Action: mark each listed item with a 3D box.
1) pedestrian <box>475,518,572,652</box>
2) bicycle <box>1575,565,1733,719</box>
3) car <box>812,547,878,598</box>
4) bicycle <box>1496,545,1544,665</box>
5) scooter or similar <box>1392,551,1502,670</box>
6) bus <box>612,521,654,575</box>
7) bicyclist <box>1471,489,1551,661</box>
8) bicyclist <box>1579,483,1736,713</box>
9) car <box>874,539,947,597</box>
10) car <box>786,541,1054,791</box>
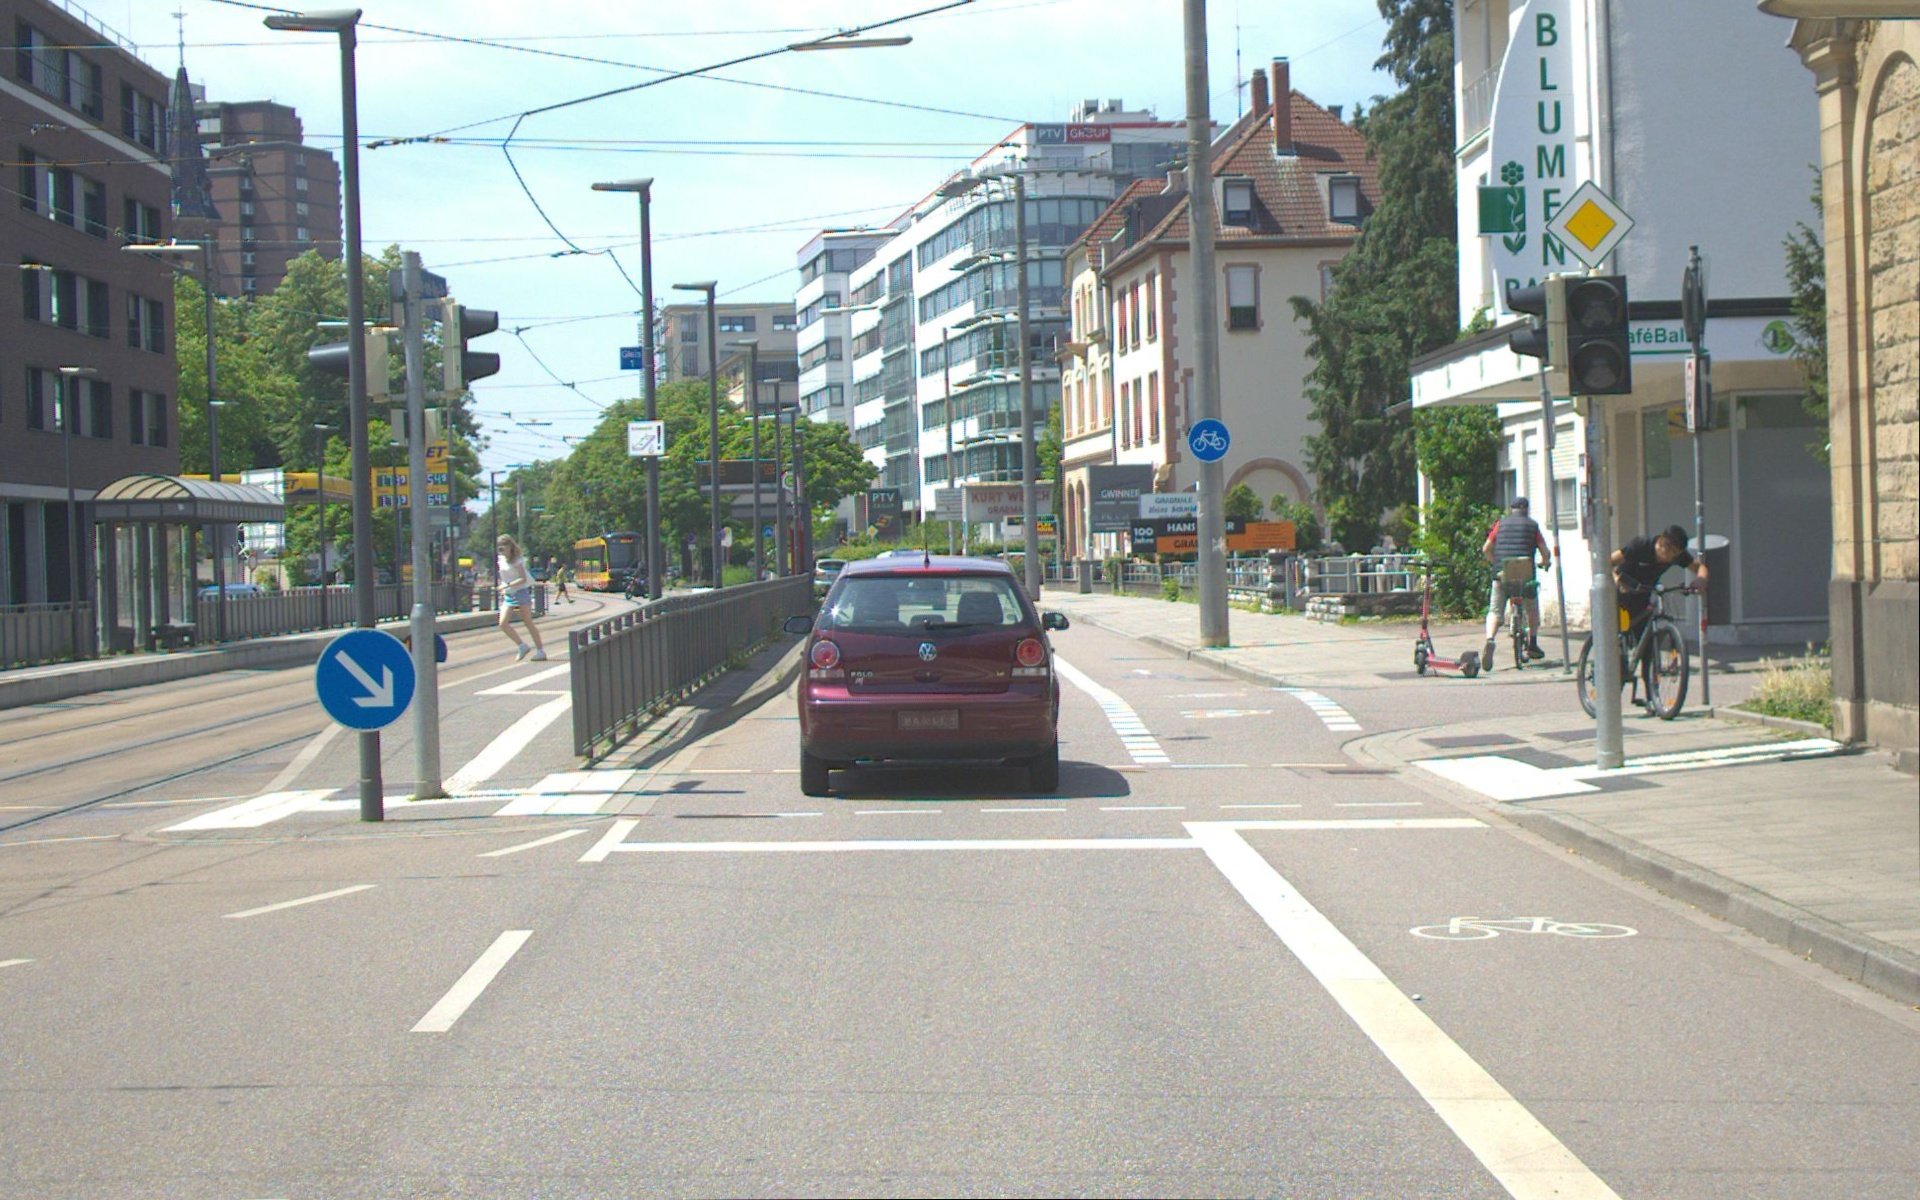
[{"bbox_3d":[-5.583,-0.196,43.966,1.096,1.669,0.766,-2,0,-14],"label":"pedestrian"},{"bbox_3d":[5.141,0.294,25.558,0.668,0.999,1.864,-6,2,-1],"label":"bicycle"},{"bbox_3d":[-4.339,-1.056,129.679,1.993,1.842,4.001,-2,1,-8],"label":"car"},{"bbox_3d":[5.835,0.037,35.770,0.375,1.193,1.904,-2,1,12],"label":"bicycle"},{"bbox_3d":[4.930,0.104,34.864,0.339,1.174,1.468,-2,1,-24],"label":"scooter or similar"},{"bbox_3d":[-19.022,-3.004,199.701,2.144,2.993,6.575,-2,1,-7],"label":"bus"},{"bbox_3d":[5.747,-0.267,35.834,0.727,1.754,0.923,-2,1,12],"label":"bicyclist"},{"bbox_3d":[5.198,-0.029,25.653,0.832,1.612,0.860,-6,2,-1],"label":"bicyclist"},{"bbox_3d":[-1.473,-0.946,101.390,1.993,1.619,4.632,-2,1,-2],"label":"car"},{"bbox_3d":[-0.280,0.379,22.161,1.561,1.448,3.062,-2,1,-1],"label":"car"}]
